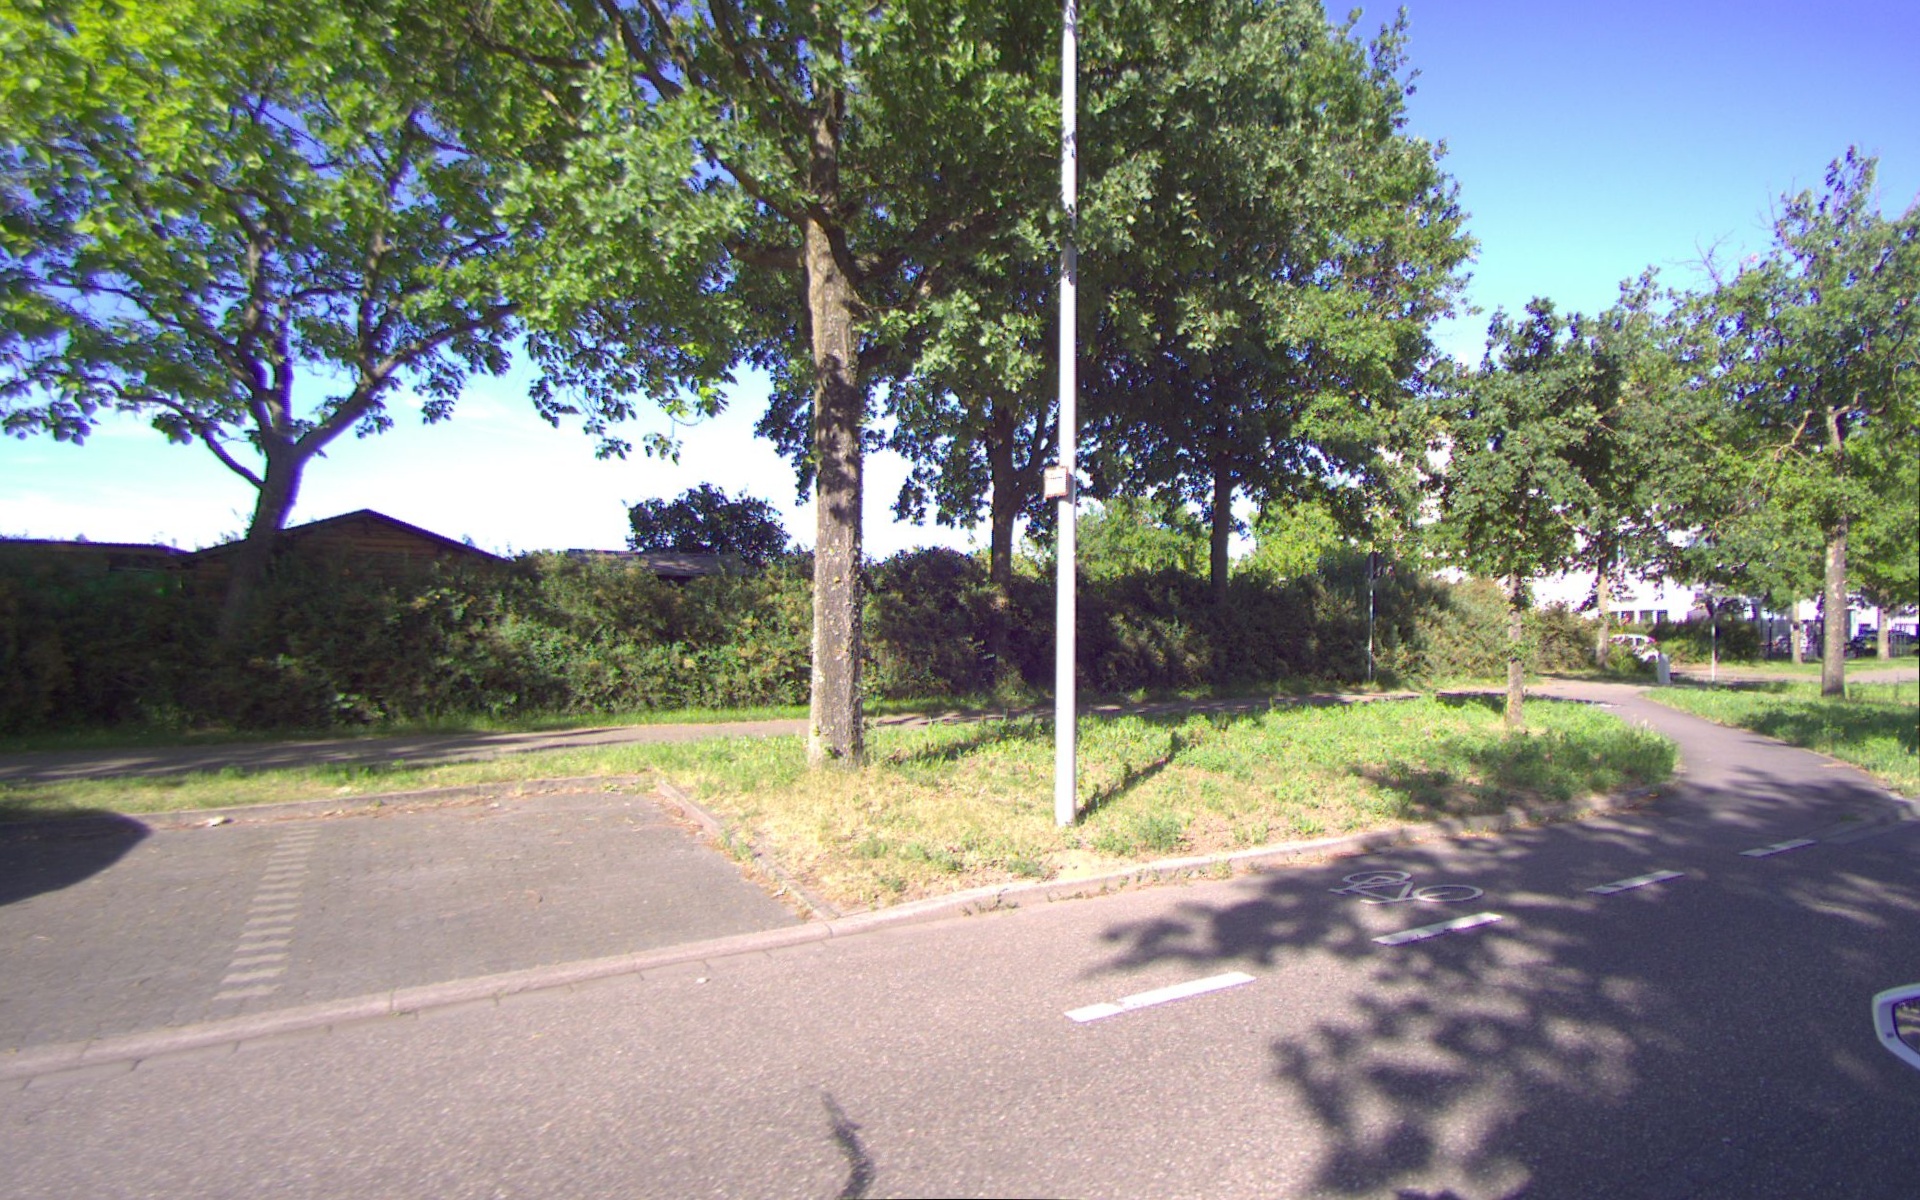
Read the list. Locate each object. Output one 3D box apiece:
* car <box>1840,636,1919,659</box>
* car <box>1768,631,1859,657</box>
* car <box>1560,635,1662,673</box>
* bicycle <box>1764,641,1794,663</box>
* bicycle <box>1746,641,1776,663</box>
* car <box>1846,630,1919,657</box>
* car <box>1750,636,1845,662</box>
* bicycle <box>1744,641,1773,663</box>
[{"bbox_3d":[60.158,3.085,65.374,3.874,1.420,2.001,0,-2,17],"label":"car"},{"bbox_3d":[52.044,2.673,61.342,3.928,1.531,1.798,-1,-1,29],"label":"car"},{"bbox_3d":[29.692,2.443,45.835,3.858,1.524,1.991,-2,-1,-21],"label":"car"},{"bbox_3d":[41.829,2.653,51.284,1.871,1.102,0.635,1,-2,-33],"label":"bicycle"},{"bbox_3d":[40.499,2.630,50.796,1.871,1.102,0.635,1,-2,-33],"label":"bicycle"},{"bbox_3d":[70.588,3.286,76.090,4.761,2.040,2.001,0,-2,17],"label":"car"},{"bbox_3d":[49.571,2.903,59.531,3.919,1.467,1.802,0,-2,15],"label":"car"},{"bbox_3d":[41.570,2.684,52.295,1.871,1.102,0.635,1,-2,-33],"label":"bicycle"}]
